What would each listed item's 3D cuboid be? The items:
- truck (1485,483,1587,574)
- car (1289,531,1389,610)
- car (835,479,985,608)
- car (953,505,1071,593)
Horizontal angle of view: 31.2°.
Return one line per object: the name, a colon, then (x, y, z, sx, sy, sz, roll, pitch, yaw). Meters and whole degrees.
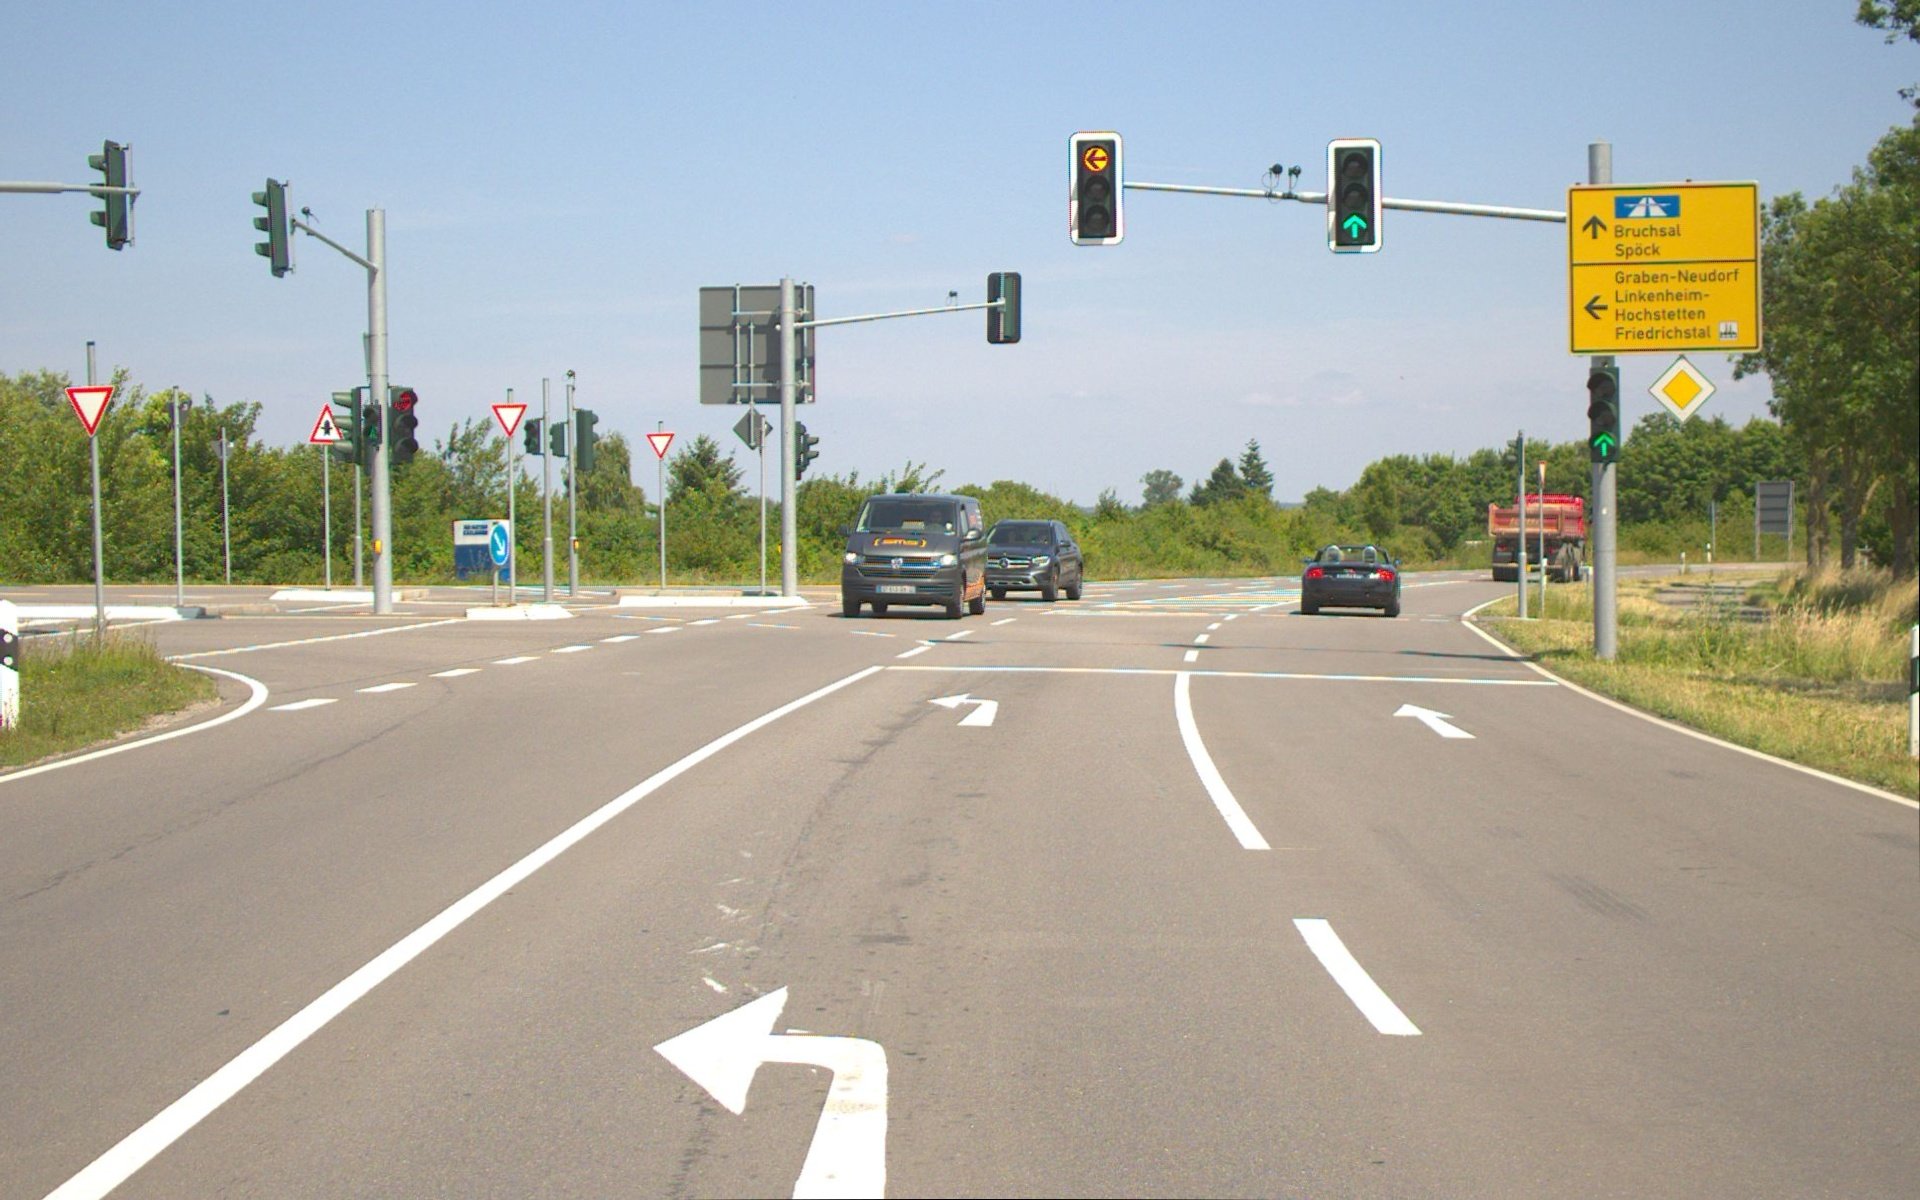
truck: (20.184, -2.437, 120.133, 2.716, 3.042, 8.158, 0, 0, 15)
car: (6.996, -0.529, 63.236, 1.748, 1.371, 3.678, 1, 0, 7)
car: (-0.759, -0.930, 55.085, 1.931, 1.971, 4.684, 1, 1, 5)
car: (1.110, -1.084, 70.835, 1.931, 1.733, 4.888, 1, 1, 7)
